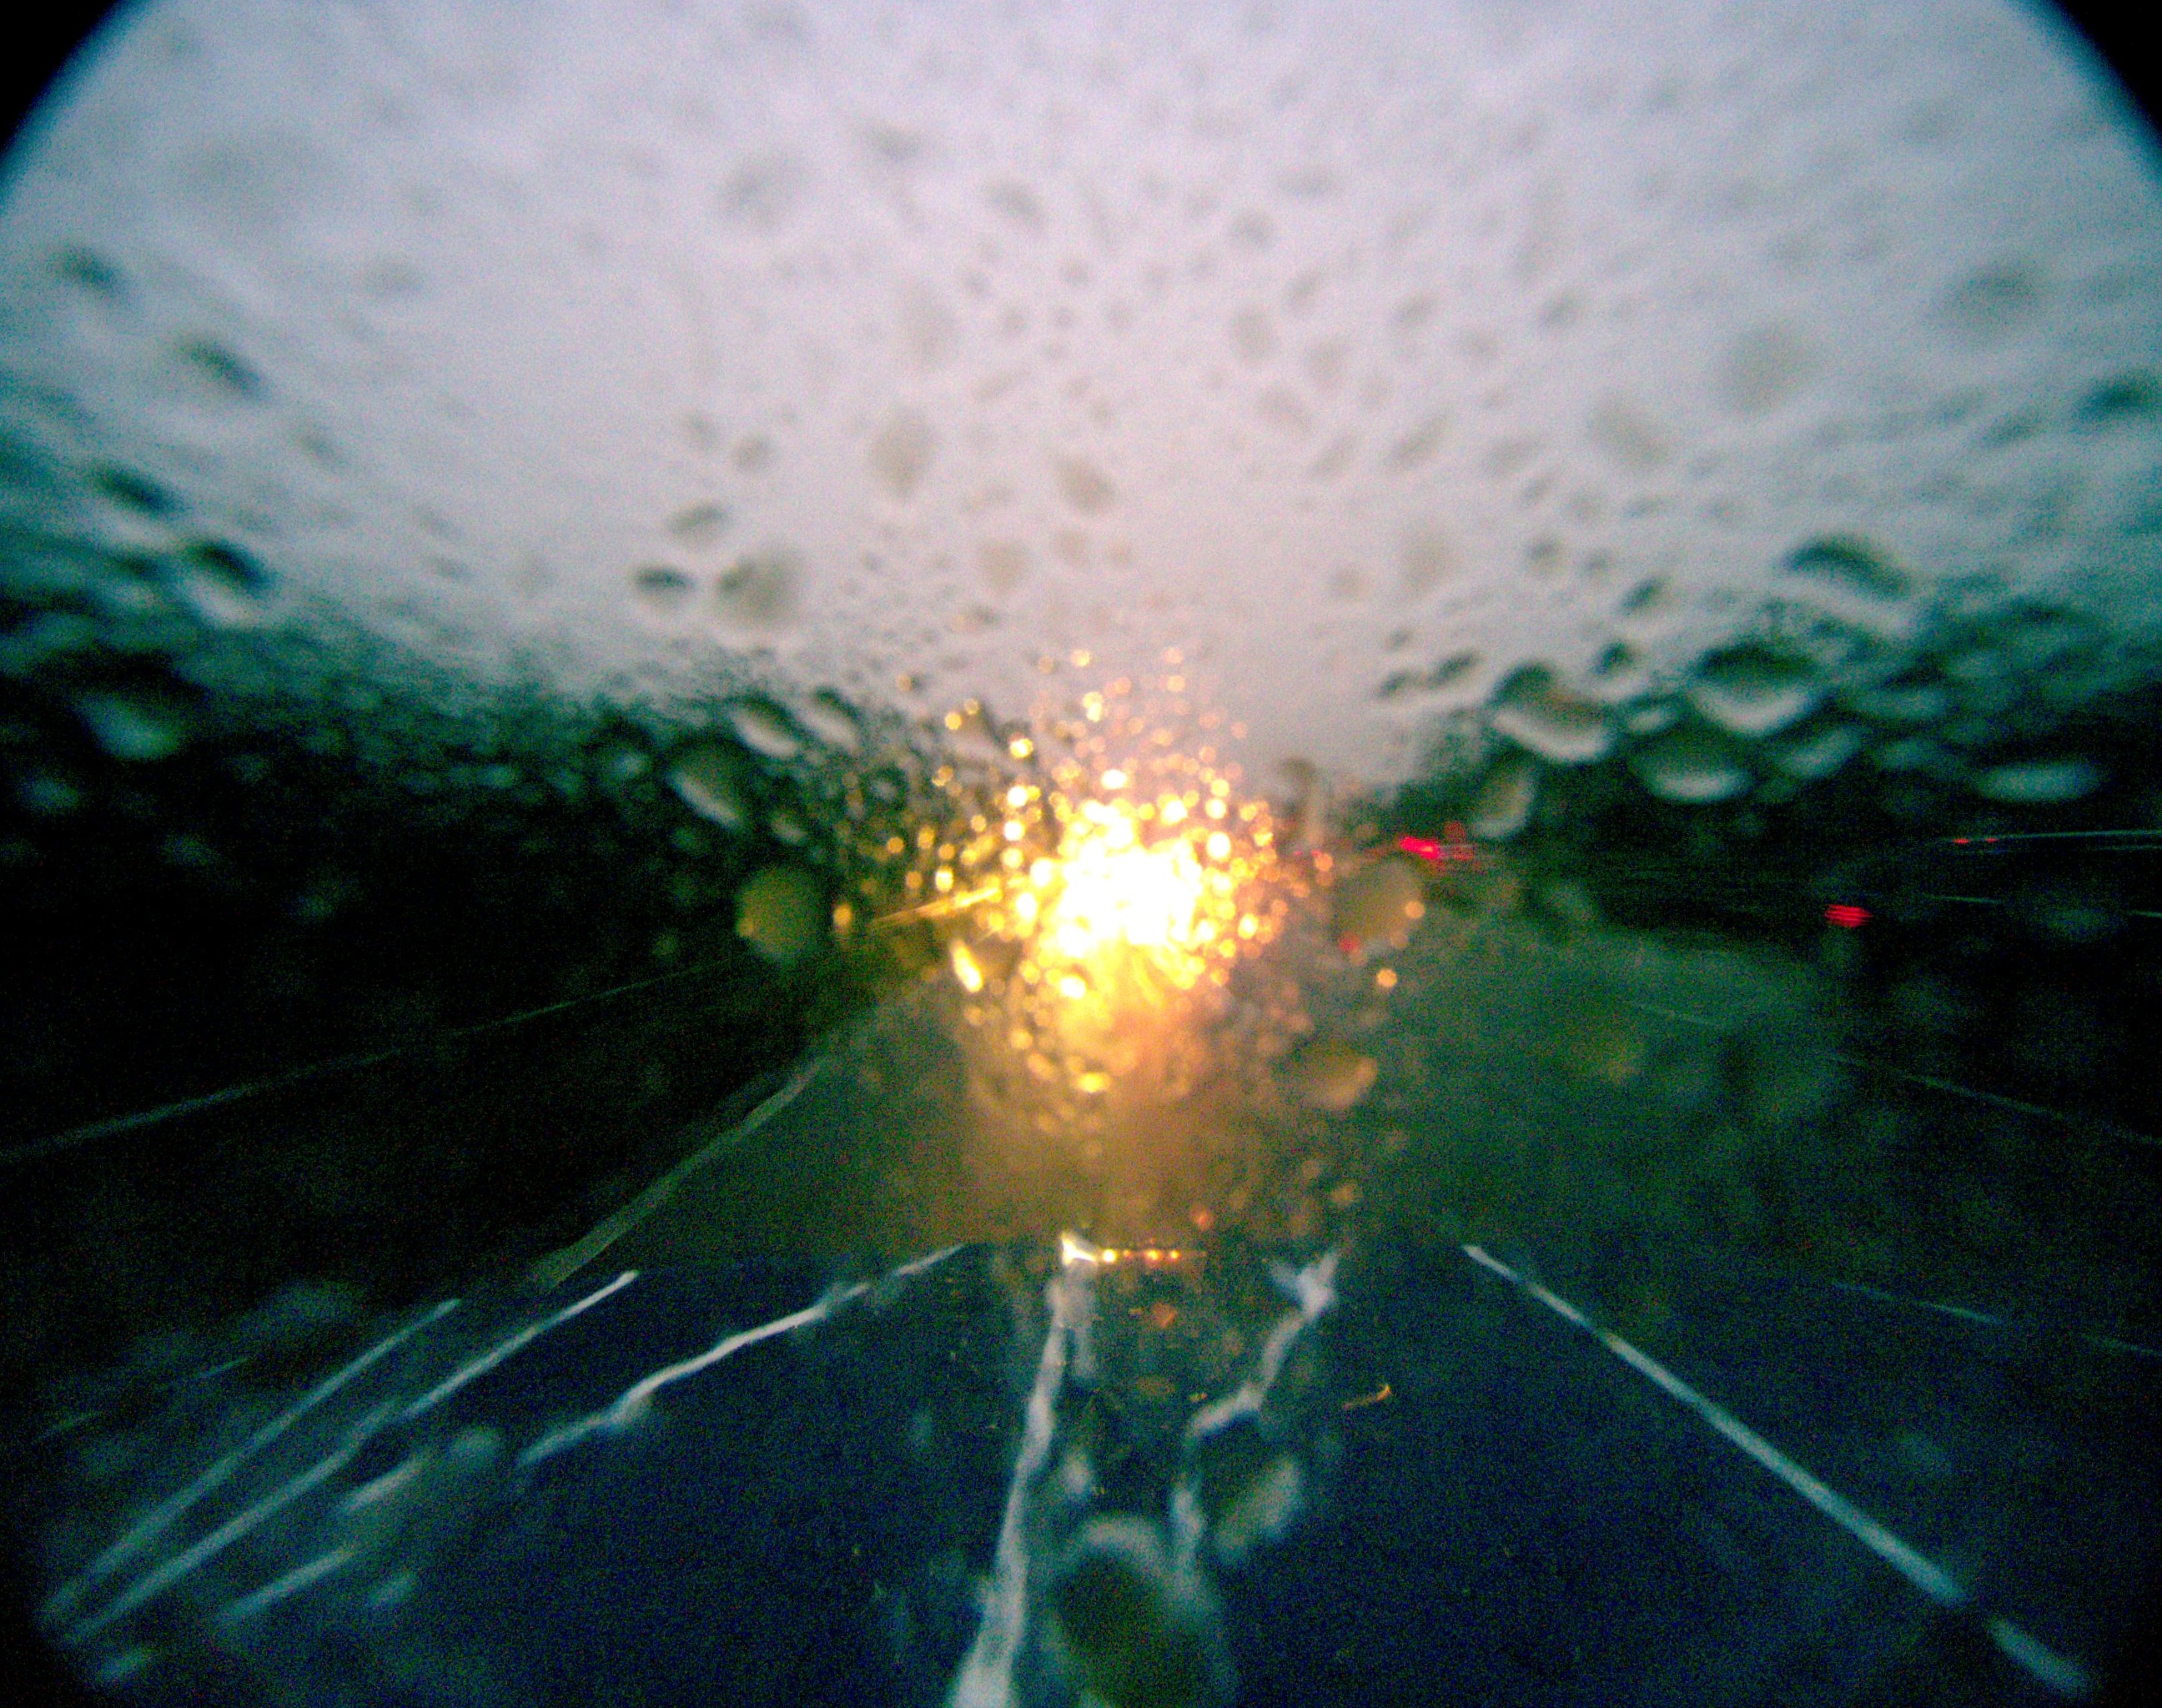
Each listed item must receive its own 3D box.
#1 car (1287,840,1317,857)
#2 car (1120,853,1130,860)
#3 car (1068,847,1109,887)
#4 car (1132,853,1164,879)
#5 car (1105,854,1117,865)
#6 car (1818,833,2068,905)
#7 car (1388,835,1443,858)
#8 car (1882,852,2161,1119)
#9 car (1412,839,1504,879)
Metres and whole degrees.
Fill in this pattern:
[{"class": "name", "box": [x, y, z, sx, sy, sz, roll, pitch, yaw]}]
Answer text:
[{"class": "car", "box": [19.448, -0.512, 66.988, 1.578, 1.368, 3.841, -3, 2, 1]}, {"class": "car", "box": [7.477, 0.407, 129.559, 1.482, 1.198, 3.350, -3, 0, 5]}, {"class": "car", "box": [0.462, 0.674, 40.496, 1.998, 2.002, 3.964, -1, 0, 3]}, {"class": "car", "box": [4.232, 0.776, 48.269, 1.654, 1.502, 3.875, 3, -1, 1]}, {"class": "car", "box": [3.890, 0.695, 97.925, 1.482, 1.198, 3.349, -3, 0, 2]}, {"class": "car", "box": [21.707, 0.303, 19.449, 1.687, 1.626, 4.203, -1, 1, 1]}, {"class": "car", "box": [22.583, -0.558, 51.505, 1.578, 1.368, 4.782, -3, 2, 1]}, {"class": "car", "box": [6.864, 0.718, 3.452, 1.802, 1.459, 4.413, -1, 0, 0]}, {"class": "car", "box": [14.947, 0.140, 30.366, 1.783, 1.368, 3.841, -3, 2, 1]}]
